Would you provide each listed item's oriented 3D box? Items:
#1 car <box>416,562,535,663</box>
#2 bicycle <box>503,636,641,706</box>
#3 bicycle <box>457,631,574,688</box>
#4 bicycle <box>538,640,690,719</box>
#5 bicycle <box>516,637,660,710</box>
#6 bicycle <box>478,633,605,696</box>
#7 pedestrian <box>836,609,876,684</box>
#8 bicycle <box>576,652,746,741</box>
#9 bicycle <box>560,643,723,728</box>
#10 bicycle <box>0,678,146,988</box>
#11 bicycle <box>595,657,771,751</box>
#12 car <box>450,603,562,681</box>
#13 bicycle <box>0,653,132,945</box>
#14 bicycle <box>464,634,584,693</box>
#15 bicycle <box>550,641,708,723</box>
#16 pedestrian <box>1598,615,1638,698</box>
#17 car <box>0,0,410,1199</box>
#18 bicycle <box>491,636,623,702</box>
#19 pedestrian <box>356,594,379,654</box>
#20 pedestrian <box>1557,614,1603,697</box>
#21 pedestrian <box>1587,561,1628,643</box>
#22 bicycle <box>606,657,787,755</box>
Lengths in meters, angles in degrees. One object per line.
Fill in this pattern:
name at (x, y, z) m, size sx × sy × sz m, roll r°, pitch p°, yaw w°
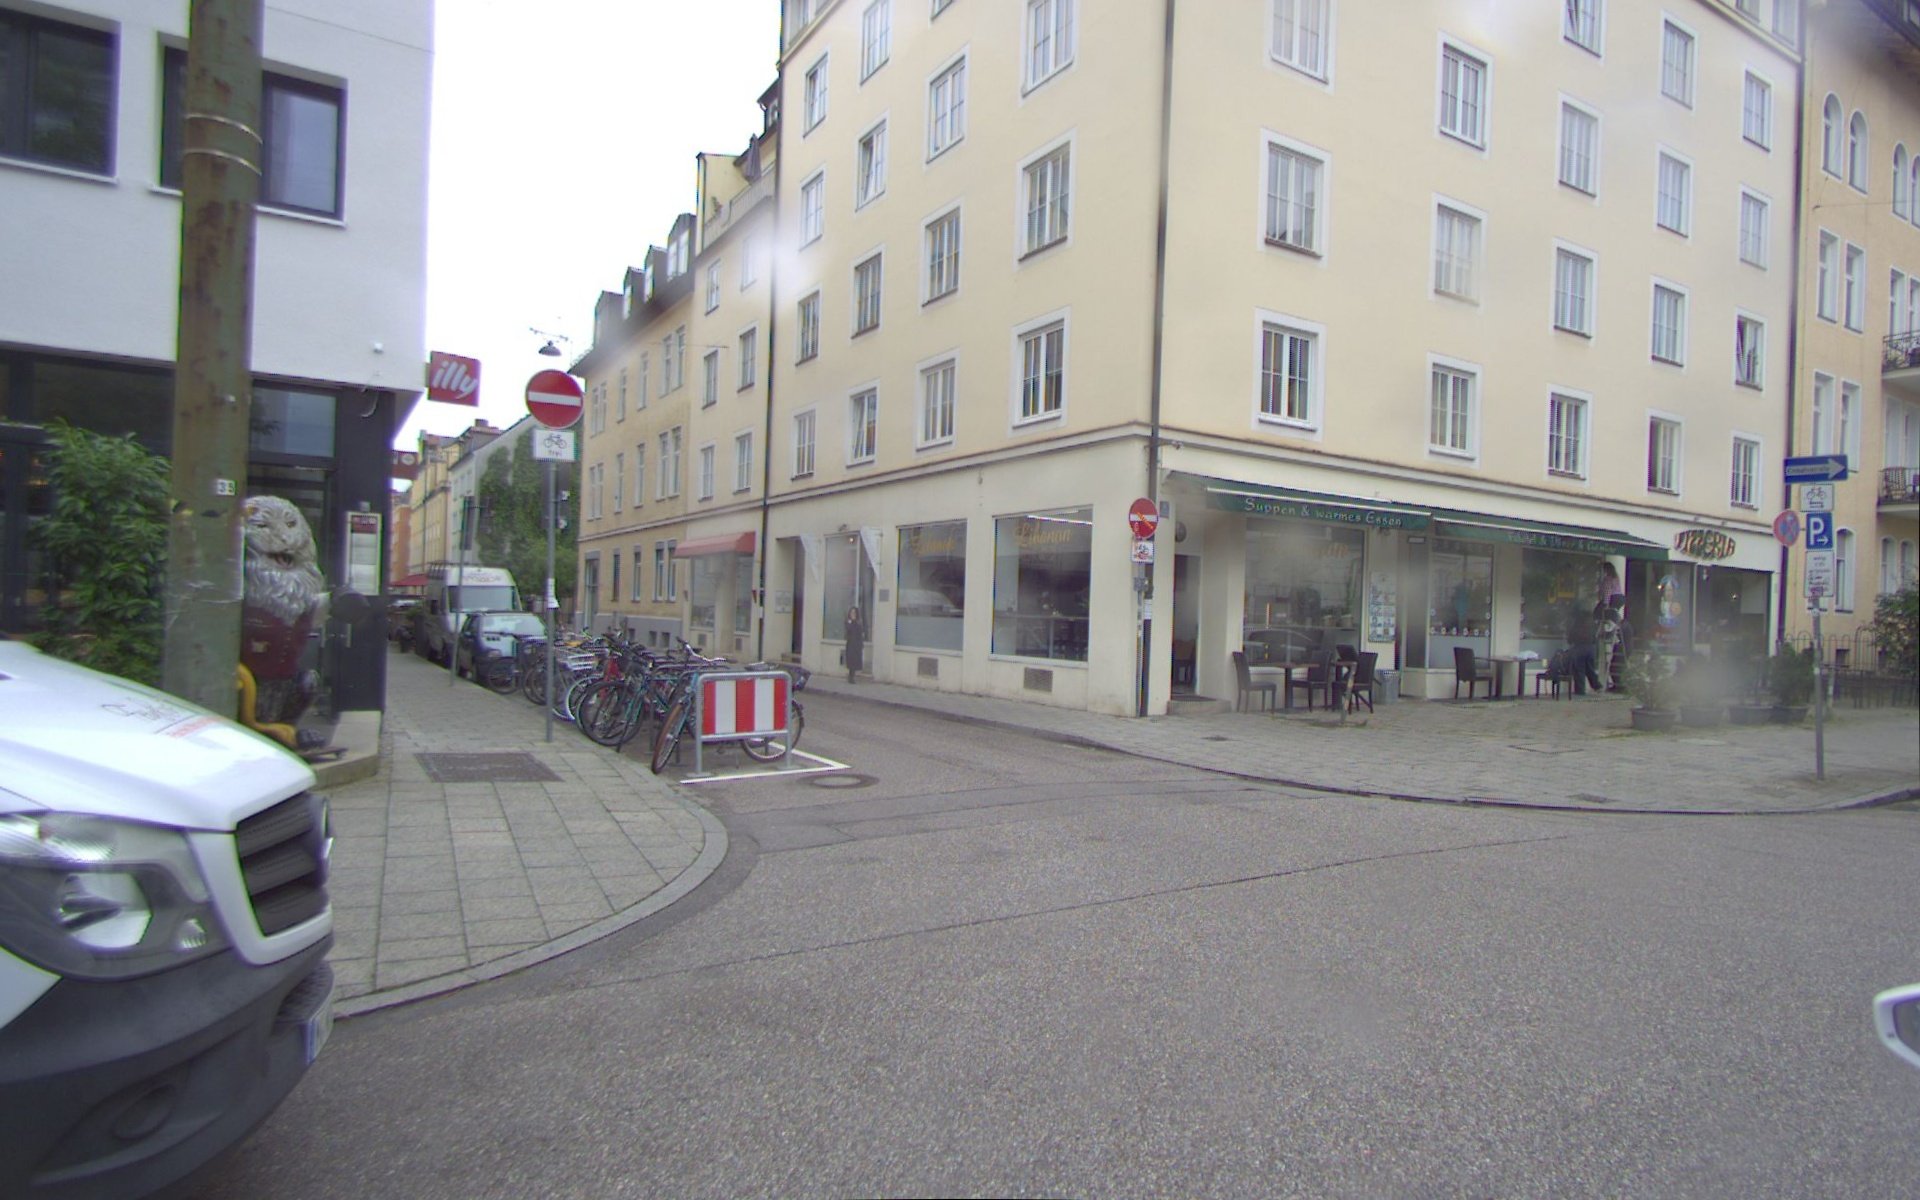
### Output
car at (-13.246, 0.294, 27.211) m, size 1.945 × 2.419 × 6.422 m, roll 2°, pitch -1°, yaw -34°
bicycle at (-5.851, 1.068, 15.209) m, size 1.876 × 0.981 × 0.394 m, roll 3°, pitch -1°, yaw -36°
bicycle at (-8.029, 1.083, 18.184) m, size 1.876 × 0.981 × 0.394 m, roll 3°, pitch -1°, yaw -36°
bicycle at (-4.619, 1.055, 13.491) m, size 1.876 × 0.981 × 0.394 m, roll 3°, pitch -1°, yaw -36°
bicycle at (-5.304, 1.050, 14.411) m, size 1.876 × 0.981 × 0.394 m, roll 3°, pitch -1°, yaw -36°
bicycle at (-6.905, 1.066, 16.616) m, size 1.876 × 0.981 × 0.394 m, roll 3°, pitch -1°, yaw -36°
pedestrian at (-2.243, 1.001, 21.609) m, size 0.631 × 1.582 × 0.605 m, roll 2°, pitch 0°, yaw -26°
bicycle at (-3.519, 1.122, 11.935) m, size 1.876 × 0.981 × 0.394 m, roll 3°, pitch -1°, yaw -36°
bicycle at (-3.936, 1.051, 12.520) m, size 1.876 × 0.981 × 0.394 m, roll 3°, pitch -1°, yaw -36°
bicycle at (-4.097, 0.857, 3.591) m, size 1.786 × 1.141 × 0.254 m, roll 3°, pitch 0°, yaw -31°
bicycle at (-3.111, 1.154, 11.404) m, size 1.876 × 0.981 × 0.394 m, roll 3°, pitch -1°, yaw -36°
car at (-9.329, 0.813, 20.499) m, size 1.475 × 1.426 × 3.657 m, roll 3°, pitch -2°, yaw -34°
bicycle at (-4.306, 0.775, 3.832) m, size 1.710 × 1.141 × 0.254 m, roll 3°, pitch 0°, yaw -31°
bicycle at (-7.638, 1.110, 17.647) m, size 1.876 × 0.981 × 0.394 m, roll 3°, pitch -1°, yaw -36°
bicycle at (-4.230, 1.045, 12.937) m, size 1.876 × 0.981 × 0.394 m, roll 3°, pitch -1°, yaw -36°
pedestrian at (13.949, 1.193, 21.303) m, size 0.567 × 1.712 × 0.459 m, roll 2°, pitch 0°, yaw -29°
car at (-4.057, 0.001, 1.334) m, size 5.723 × 2.607 × 1.969 m, roll 3°, pitch -3°, yaw -29°
bicycle at (-6.355, 1.094, 15.914) m, size 1.876 × 0.981 × 0.394 m, roll 3°, pitch -1°, yaw -36°
pedestrian at (-17.350, 0.702, 29.417) m, size 0.517 × 1.762 × 0.488 m, roll 2°, pitch -1°, yaw -34°
pedestrian at (12.719, 1.132, 20.612) m, size 0.622 × 1.664 × 0.519 m, roll 2°, pitch 0°, yaw -30°
pedestrian at (13.464, 0.045, 20.891) m, size 0.490 × 1.664 × 0.476 m, roll 2°, pitch 0°, yaw -25°
bicycle at (-2.860, 1.140, 11.041) m, size 1.876 × 0.981 × 0.394 m, roll 3°, pitch -1°, yaw -36°
